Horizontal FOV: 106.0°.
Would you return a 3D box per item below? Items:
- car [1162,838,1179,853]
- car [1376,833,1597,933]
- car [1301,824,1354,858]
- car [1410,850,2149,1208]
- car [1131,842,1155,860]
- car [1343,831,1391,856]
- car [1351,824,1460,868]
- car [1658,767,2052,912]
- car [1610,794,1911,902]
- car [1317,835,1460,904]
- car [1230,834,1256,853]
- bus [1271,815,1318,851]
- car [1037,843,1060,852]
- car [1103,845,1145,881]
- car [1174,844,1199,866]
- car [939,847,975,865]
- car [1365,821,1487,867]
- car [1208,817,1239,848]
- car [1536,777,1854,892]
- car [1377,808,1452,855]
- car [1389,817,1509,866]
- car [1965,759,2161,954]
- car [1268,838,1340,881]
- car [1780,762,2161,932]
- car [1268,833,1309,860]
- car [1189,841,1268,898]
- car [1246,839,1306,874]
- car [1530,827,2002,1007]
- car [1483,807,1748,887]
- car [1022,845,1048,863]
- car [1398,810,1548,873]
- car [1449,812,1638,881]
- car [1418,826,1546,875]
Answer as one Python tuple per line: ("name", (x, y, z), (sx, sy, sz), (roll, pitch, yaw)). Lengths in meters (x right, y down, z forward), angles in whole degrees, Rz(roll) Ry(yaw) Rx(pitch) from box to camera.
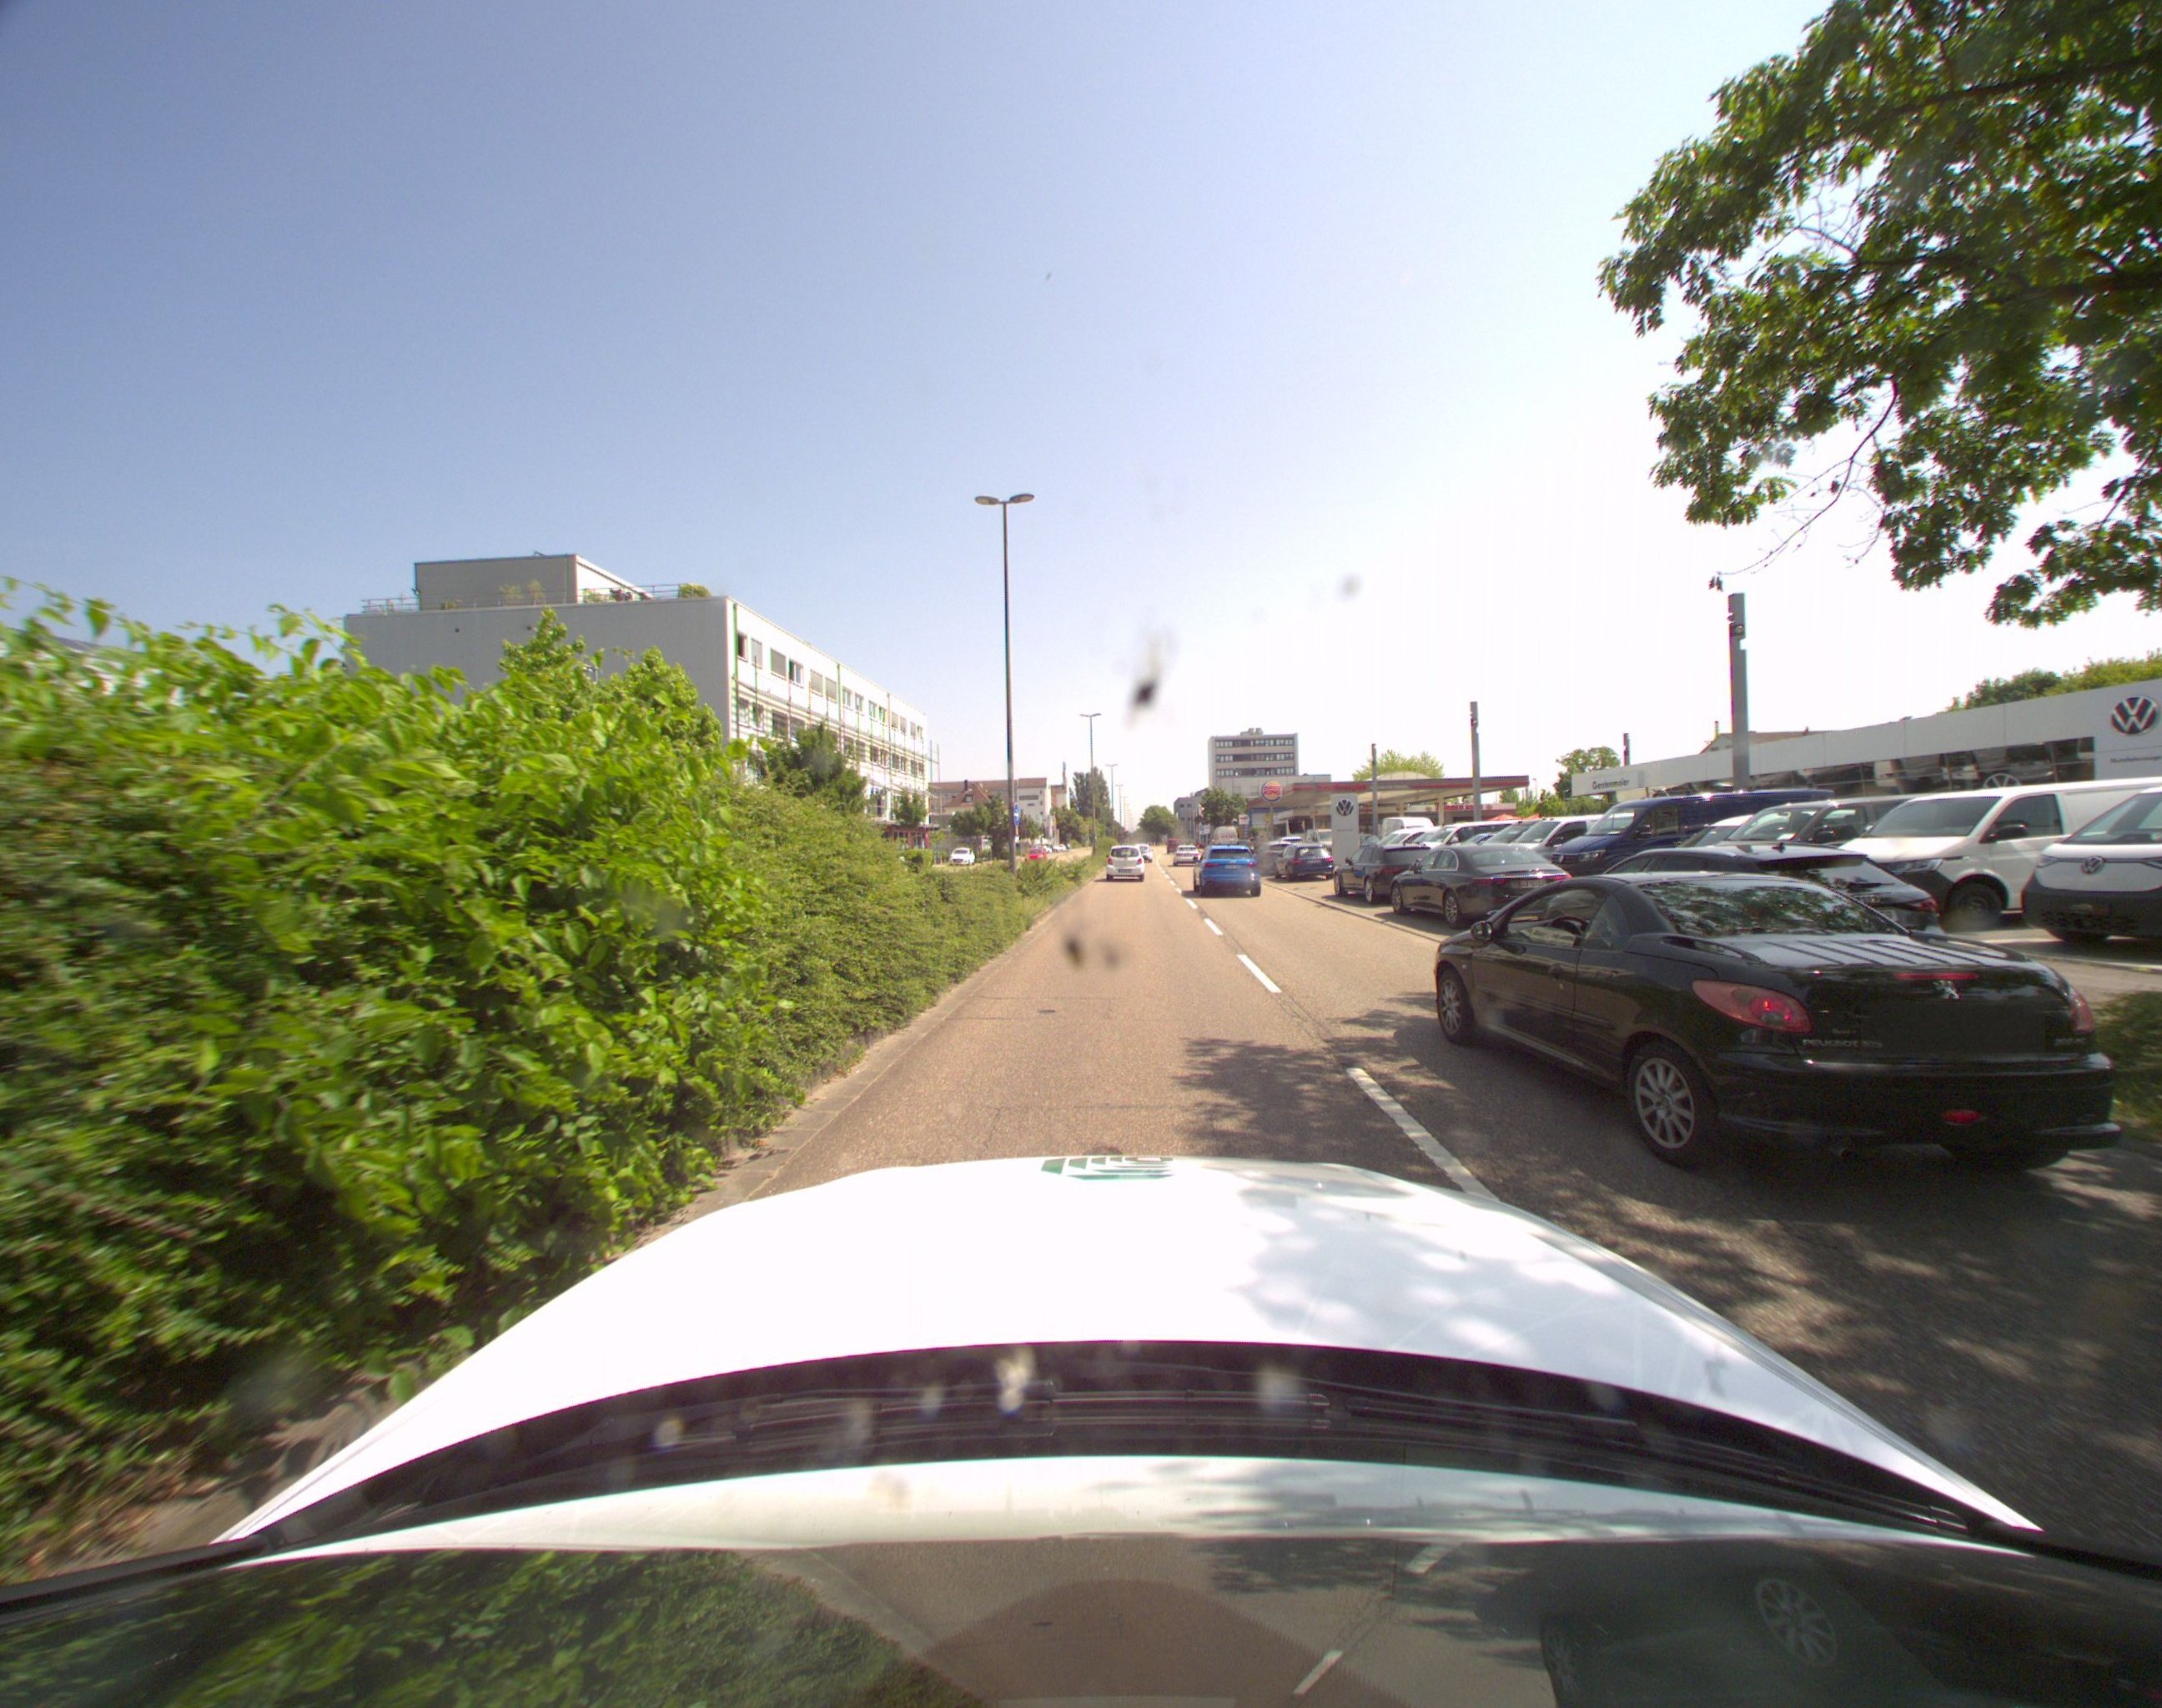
("car", (10.708, -1.041, 97.675), (1.788, 1.729, 3.974), (-1, -1, 2))
("car", (7.522, 0.442, 15.826), (1.952, 1.530, 5.166), (-3, 0, 4))
("car", (15.546, -0.830, 51.635), (1.985, 2.023, 5.165), (-1, 0, 3))
("car", (3.569, 0.705, 5.135), (1.594, 1.425, 3.663), (-1, 0, 2))
("car", (5.070, -0.207, 66.794), (1.823, 1.450, 4.002), (-1, -1, 2))
("car", (18.107, -0.682, 51.793), (1.736, 1.513, 4.606), (0, 1, 4))
("car", (15.383, -0.381, 38.798), (4.394, 1.882, 1.911), (-3, 0, 2))
("car", (13.605, -0.252, 14.601), (4.880, 2.114, 2.131), (-4, 1, 2))
("car", (14.007, -0.127, 17.019), (4.549, 1.851, 1.953), (-4, 1, 2))
("car", (8.014, 0.352, 21.811), (1.848, 1.481, 5.157), (-4, 0, 1))
("car", (13.929, -0.937, 70.209), (1.650, 1.519, 3.824), (-3, 1, 4))
("bus", (20.282, -2.045, 78.021), (2.789, 3.078, 12.313), (-1, 2, 8))
("car", (-5.993, -1.223, 149.981), (3.966, 1.552, 1.868), (-1, -1, 6))
("car", (1.854, 0.405, 35.746), (1.706, 1.511, 3.247), (-1, -1, 1))
("car", (7.228, 0.052, 55.843), (1.658, 1.399, 3.801), (-1, 1, 7))
("car", (-10.807, 0.190, 70.708), (1.690, 1.495, 4.001), (1, -2, -32))
("car", (15.035, -0.414, 35.692), (4.537, 1.888, 1.858), (-1, -1, 2))
("car", (14.592, -2.133, 83.680), (2.124, 2.839, 7.318), (-6, 0, 4))
("car", (14.561, -0.414, 19.686), (5.813, 2.524, 2.208), (-1, -1, 6))
("car", (20.954, -1.403, 51.601), (2.246, 2.675, 7.026), (-3, 1, 4))
("car", (15.398, -0.505, 34.220), (4.133, 1.781, 1.883), (-3, -1, 2))
("car", (13.450, -0.143, 9.081), (4.489, 2.013, 2.200), (-5, -1, 4))
("car", (8.976, 0.215, 33.141), (1.707, 1.548, 4.793), (-3, 0, 2))
("car", (13.901, -0.154, 12.132), (5.043, 2.097, 2.042), (-4, 0, 3))
("car", (13.131, -0.491, 51.838), (1.660, 1.596, 4.618), (-3, 1, 4))
("car", (4.611, 0.427, 26.136), (1.905, 1.597, 4.399), (-1, 1, 2))
("car", (9.140, 0.087, 38.522), (1.727, 1.552, 4.178), (-1, 1, -1))
("car", (6.954, 0.525, 9.050), (1.674, 1.435, 4.444), (-3, 0, 4))
("car", (14.619, -0.187, 22.566), (5.872, 2.013, 2.260), (-1, 0, 1))
("car", (-3.908, 0.000, 69.617), (1.623, 1.424, 3.455), (-4, 0, 5))
("car", (14.696, -0.472, 30.713), (4.623, 2.013, 1.961), (-4, 1, 1))
("car", (14.314, -0.274, 25.430), (4.765, 1.984, 2.007), (-1, 2, 4))
("car", (13.732, -0.117, 28.078), (3.609, 1.570, 1.721), (-1, 0, 9))
